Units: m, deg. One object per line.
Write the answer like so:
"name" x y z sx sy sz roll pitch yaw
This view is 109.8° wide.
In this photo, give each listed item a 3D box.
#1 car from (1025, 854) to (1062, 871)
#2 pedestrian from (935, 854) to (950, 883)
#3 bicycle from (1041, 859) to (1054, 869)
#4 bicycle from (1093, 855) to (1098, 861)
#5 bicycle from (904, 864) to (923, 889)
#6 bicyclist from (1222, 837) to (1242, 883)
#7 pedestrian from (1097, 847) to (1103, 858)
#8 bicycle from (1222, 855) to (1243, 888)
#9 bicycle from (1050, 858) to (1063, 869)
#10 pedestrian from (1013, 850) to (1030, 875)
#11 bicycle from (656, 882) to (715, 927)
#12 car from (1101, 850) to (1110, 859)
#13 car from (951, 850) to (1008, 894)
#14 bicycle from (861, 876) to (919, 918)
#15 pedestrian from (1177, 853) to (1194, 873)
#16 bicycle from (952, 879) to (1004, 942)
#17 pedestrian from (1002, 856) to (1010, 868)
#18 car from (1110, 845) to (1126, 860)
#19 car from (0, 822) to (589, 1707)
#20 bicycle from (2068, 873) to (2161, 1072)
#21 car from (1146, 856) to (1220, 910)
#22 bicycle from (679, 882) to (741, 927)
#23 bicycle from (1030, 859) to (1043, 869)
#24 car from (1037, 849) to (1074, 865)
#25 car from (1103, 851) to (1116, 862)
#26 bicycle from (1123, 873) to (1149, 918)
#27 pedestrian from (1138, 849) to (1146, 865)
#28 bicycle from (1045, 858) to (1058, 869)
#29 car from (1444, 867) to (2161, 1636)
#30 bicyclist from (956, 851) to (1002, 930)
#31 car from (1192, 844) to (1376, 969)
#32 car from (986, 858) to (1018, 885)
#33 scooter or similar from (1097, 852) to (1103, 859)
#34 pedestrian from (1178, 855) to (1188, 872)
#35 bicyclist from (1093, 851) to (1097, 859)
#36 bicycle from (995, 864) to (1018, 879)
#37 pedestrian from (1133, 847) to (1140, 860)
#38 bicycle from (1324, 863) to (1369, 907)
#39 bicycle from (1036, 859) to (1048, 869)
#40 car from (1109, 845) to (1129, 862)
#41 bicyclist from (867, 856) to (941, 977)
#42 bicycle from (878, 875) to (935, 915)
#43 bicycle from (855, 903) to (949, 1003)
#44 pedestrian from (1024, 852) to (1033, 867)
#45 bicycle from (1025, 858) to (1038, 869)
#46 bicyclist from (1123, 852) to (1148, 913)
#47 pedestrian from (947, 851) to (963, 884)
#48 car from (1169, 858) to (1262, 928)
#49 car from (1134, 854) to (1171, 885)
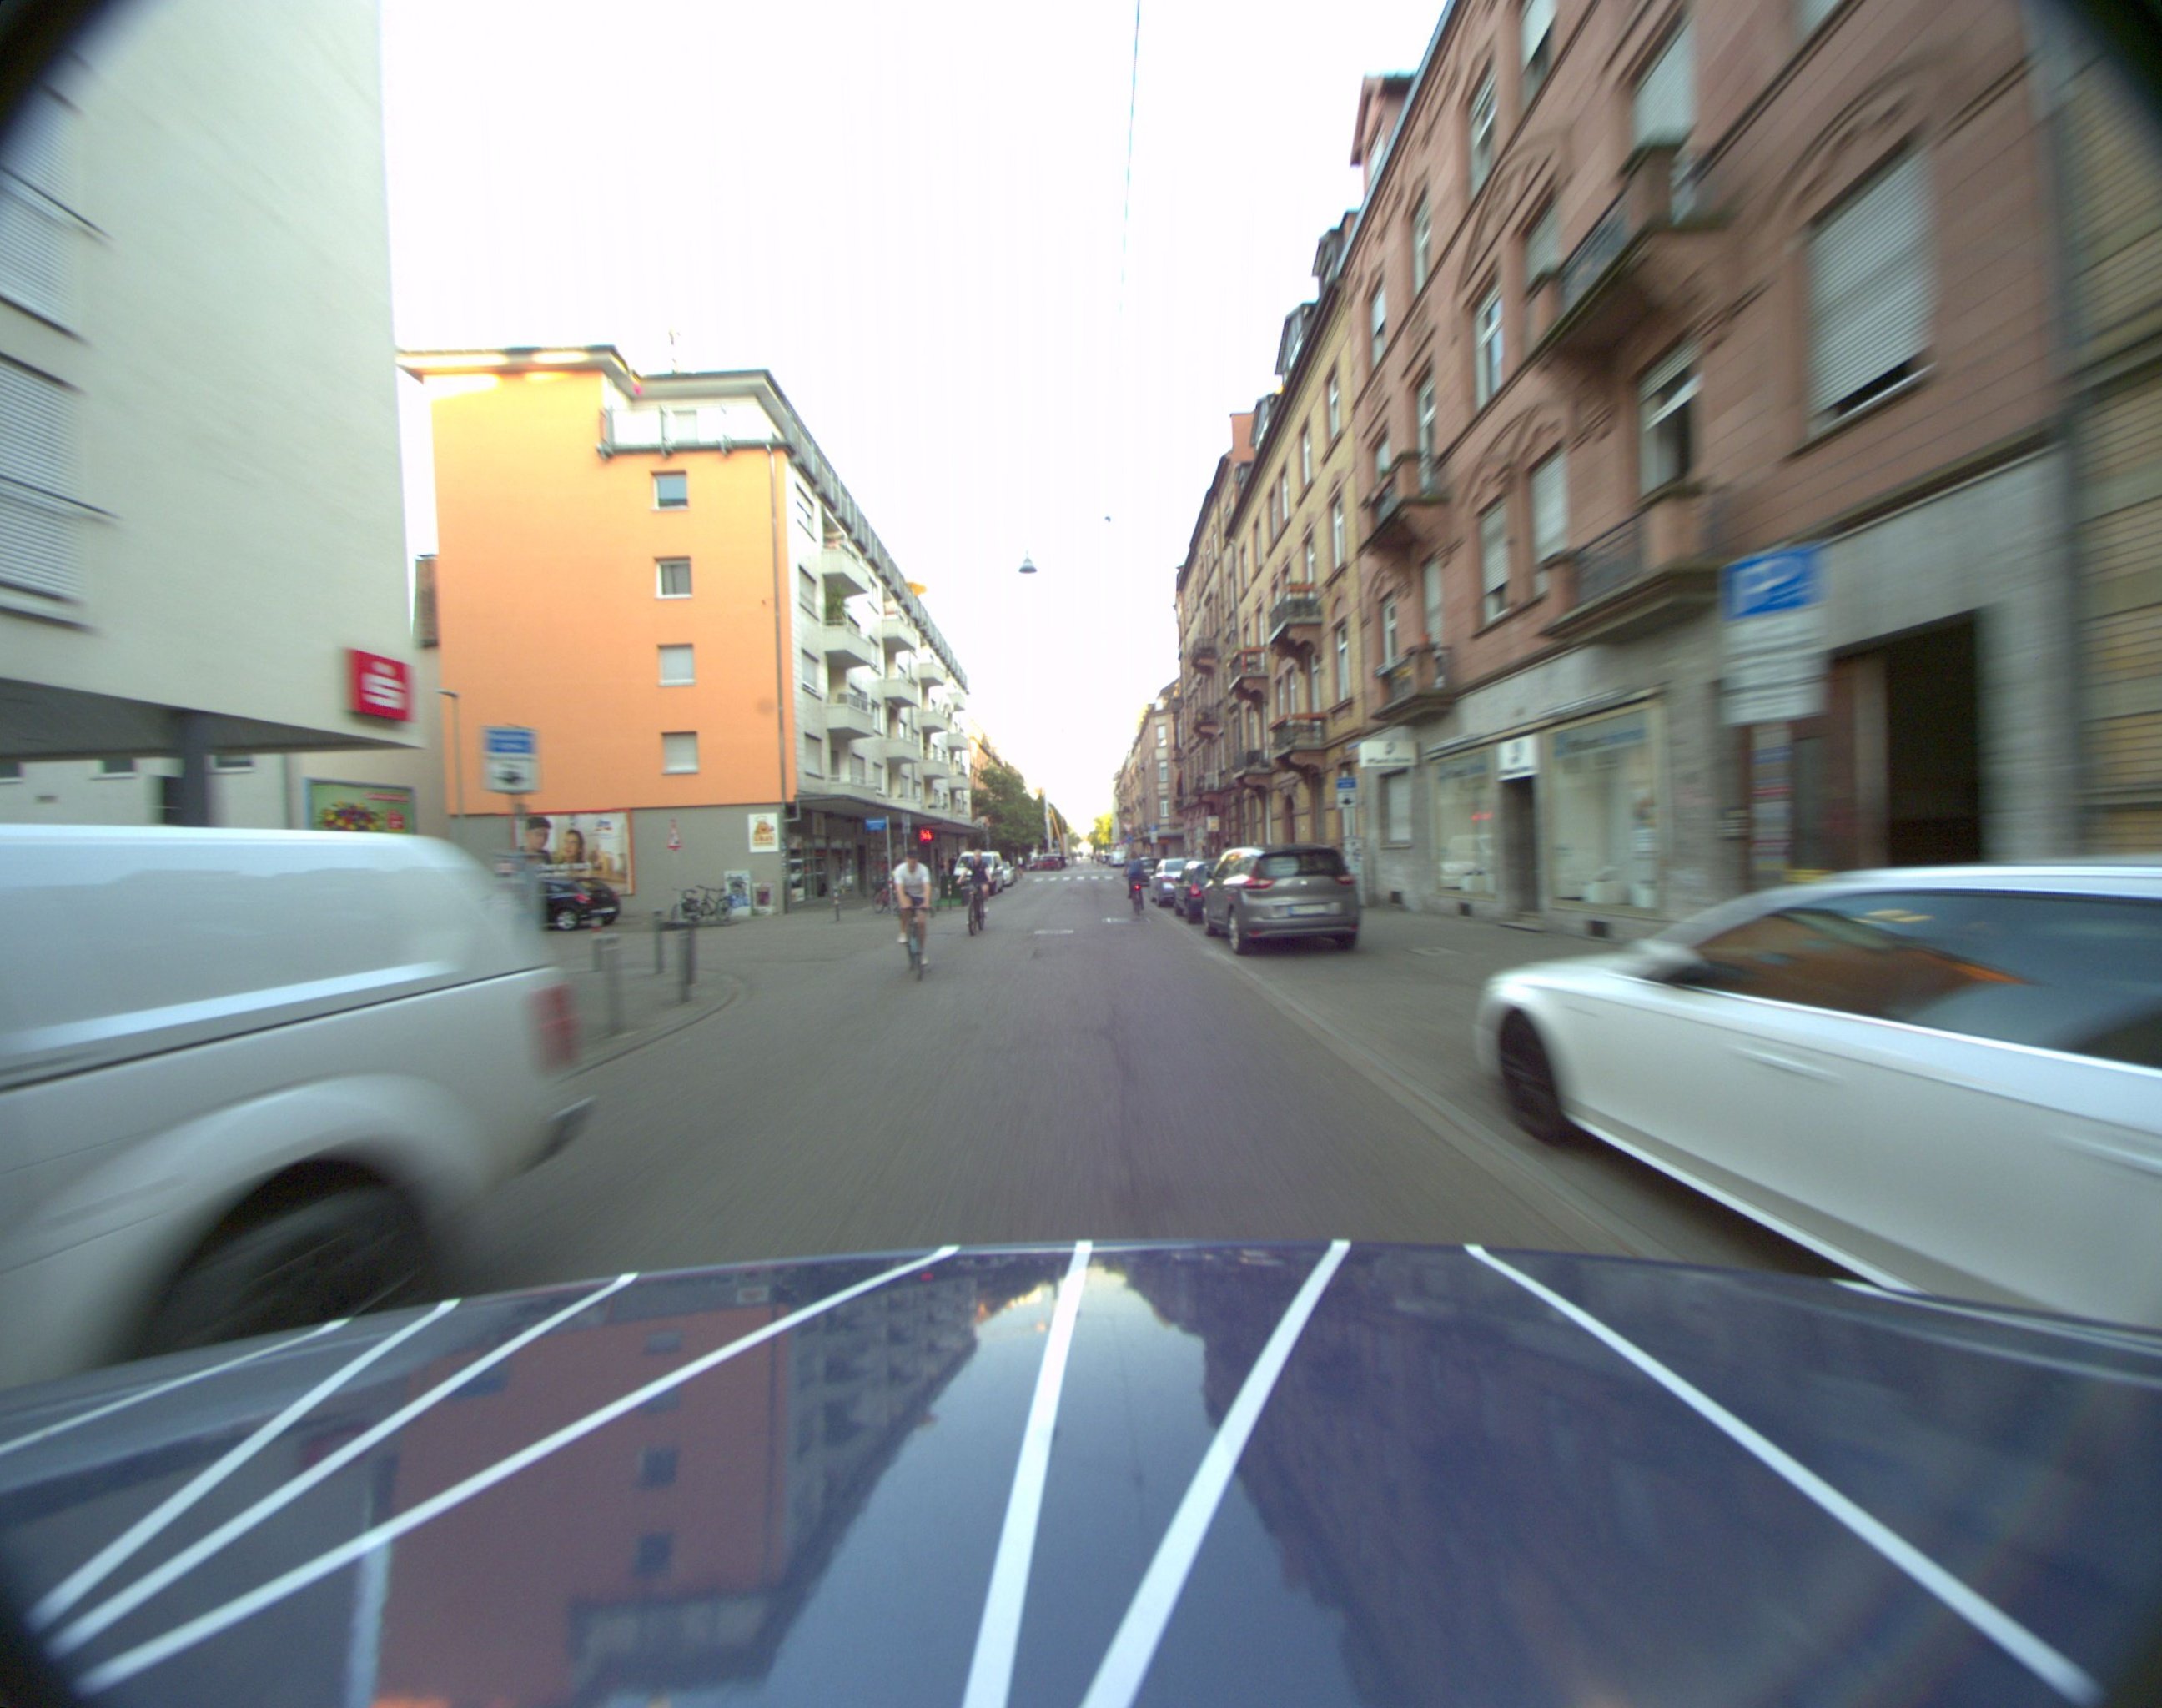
"car" -4.413 0.987 89.710 4.005 1.658 1.823 -3 2 -30
"pedestrian" -7.874 0.816 43.218 0.710 1.656 0.744 -1 2 0
"bicycle" -3.872 1.098 86.937 0.666 1.125 2.111 0 0 -27
"bicycle" 2.850 0.847 154.292 0.754 1.124 1.975 -2 0 -5
"bicycle" -8.473 1.125 38.307 0.913 1.189 1.709 0 1 -13
"bicyclist" 5.909 0.232 29.689 0.709 1.720 0.843 -2 2 12
"pedestrian" 2.964 -0.271 117.665 0.809 1.650 0.672 -1 0 -2
"bicycle" 5.950 0.680 29.826 0.709 1.189 1.743 -2 2 12
"bicycle" -2.814 1.083 87.268 0.666 1.162 2.111 0 0 -27
"pedestrian" -4.494 0.673 57.593 1.048 1.800 0.757 -3 -2 11
"bicycle" -10.989 1.384 21.177 0.564 1.061 1.757 -1 2 6
"car" 5.779 0.105 177.109 1.908 1.729 3.850 -3 1 4
"car" -4.729 0.806 36.056 1.963 1.962 5.003 0 0 1
"bicycle" -5.796 1.278 22.985 1.939 1.128 0.658 1 1 38
"pedestrian" 6.852 0.584 49.820 0.650 1.247 0.907 -5 0 -15
"bicycle" -2.107 1.135 15.898 0.794 1.133 2.343 -3 0 -2
"pedestrian" -8.554 0.924 86.821 0.721 1.297 0.750 -2 0 -19
"car" 4.940 -0.187 102.057 1.879 1.892 4.326 -3 0 1
"car" -2.994 0.919 0.375 1.915 1.842 5.270 -3 1 1
"bicycle" 6.509 0.692 3.935 0.517 1.125 1.730 -3 0 0
"car" 3.138 0.858 24.221 1.727 1.412 4.581 -3 0 1
"bicycle" -10.323 1.380 21.197 0.563 1.061 1.964 -1 2 6
"bicycle" -5.049 1.079 86.246 0.666 1.125 2.111 0 0 -27
"car" -3.928 0.410 118.354 5.152 2.182 2.334 -3 2 -24
"car" 5.087 0.462 136.495 2.141 1.811 4.540 -3 0 1
"bicycle" 1.469 1.082 20.437 0.646 1.074 2.169 0 0 4
"pedestrian" 7.108 0.330 88.023 0.654 1.768 0.693 -3 0 19
"bicycle" -3.381 1.086 87.400 0.666 1.162 2.111 0 0 -27
"car" 3.014 0.819 2.189 1.762 1.403 4.508 -3 0 1
"bicyclist" -2.128 0.749 15.900 0.794 1.562 0.826 -3 0 -2
"car" 3.120 0.735 12.703 1.857 1.624 4.446 -3 0 1
"car" -4.663 1.003 45.200 1.596 1.492 3.422 0 0 -2
"scooter or similar" 2.976 0.252 117.669 0.809 1.097 1.172 -1 0 -2
"pedestrian" 6.820 0.636 50.781 0.504 1.137 0.791 -3 2 2
"bicyclist" 2.822 0.277 154.291 0.754 1.630 1.201 -2 0 -5
"bicycle" -5.050 1.199 51.623 1.482 0.996 0.511 0 2 7
"pedestrian" 7.395 -0.040 101.011 0.748 1.733 1.213 -3 1 8
"bicycle" 6.749 0.764 19.420 0.450 1.016 1.848 -6 0 1
"bicycle" -4.450 1.092 86.598 0.666 1.125 2.111 0 0 -27
"car" 4.803 -0.109 95.916 2.141 1.947 4.768 -3 0 -1
"bicyclist" -2.346 0.802 10.158 0.650 1.500 0.953 -3 2 3
"bicycle" -5.505 1.272 23.923 1.939 1.128 0.658 1 1 38
"bicycle" -2.332 1.262 10.154 0.658 1.012 1.918 -3 1 3
"pedestrian" -5.643 0.597 82.123 0.537 1.597 0.870 -1 -1 27
"bicycle" -5.577 1.067 85.965 0.666 1.158 2.111 0 0 -27
"bicyclist" 1.471 0.742 20.414 0.646 1.611 0.918 0 1 4
"pedestrian" -7.147 0.766 43.047 0.710 1.818 0.860 -1 2 0
"car" 3.099 0.857 18.139 1.589 1.412 3.696 -3 0 2
"car" 3.566 0.738 38.548 1.697 1.412 3.855 -3 0 3
